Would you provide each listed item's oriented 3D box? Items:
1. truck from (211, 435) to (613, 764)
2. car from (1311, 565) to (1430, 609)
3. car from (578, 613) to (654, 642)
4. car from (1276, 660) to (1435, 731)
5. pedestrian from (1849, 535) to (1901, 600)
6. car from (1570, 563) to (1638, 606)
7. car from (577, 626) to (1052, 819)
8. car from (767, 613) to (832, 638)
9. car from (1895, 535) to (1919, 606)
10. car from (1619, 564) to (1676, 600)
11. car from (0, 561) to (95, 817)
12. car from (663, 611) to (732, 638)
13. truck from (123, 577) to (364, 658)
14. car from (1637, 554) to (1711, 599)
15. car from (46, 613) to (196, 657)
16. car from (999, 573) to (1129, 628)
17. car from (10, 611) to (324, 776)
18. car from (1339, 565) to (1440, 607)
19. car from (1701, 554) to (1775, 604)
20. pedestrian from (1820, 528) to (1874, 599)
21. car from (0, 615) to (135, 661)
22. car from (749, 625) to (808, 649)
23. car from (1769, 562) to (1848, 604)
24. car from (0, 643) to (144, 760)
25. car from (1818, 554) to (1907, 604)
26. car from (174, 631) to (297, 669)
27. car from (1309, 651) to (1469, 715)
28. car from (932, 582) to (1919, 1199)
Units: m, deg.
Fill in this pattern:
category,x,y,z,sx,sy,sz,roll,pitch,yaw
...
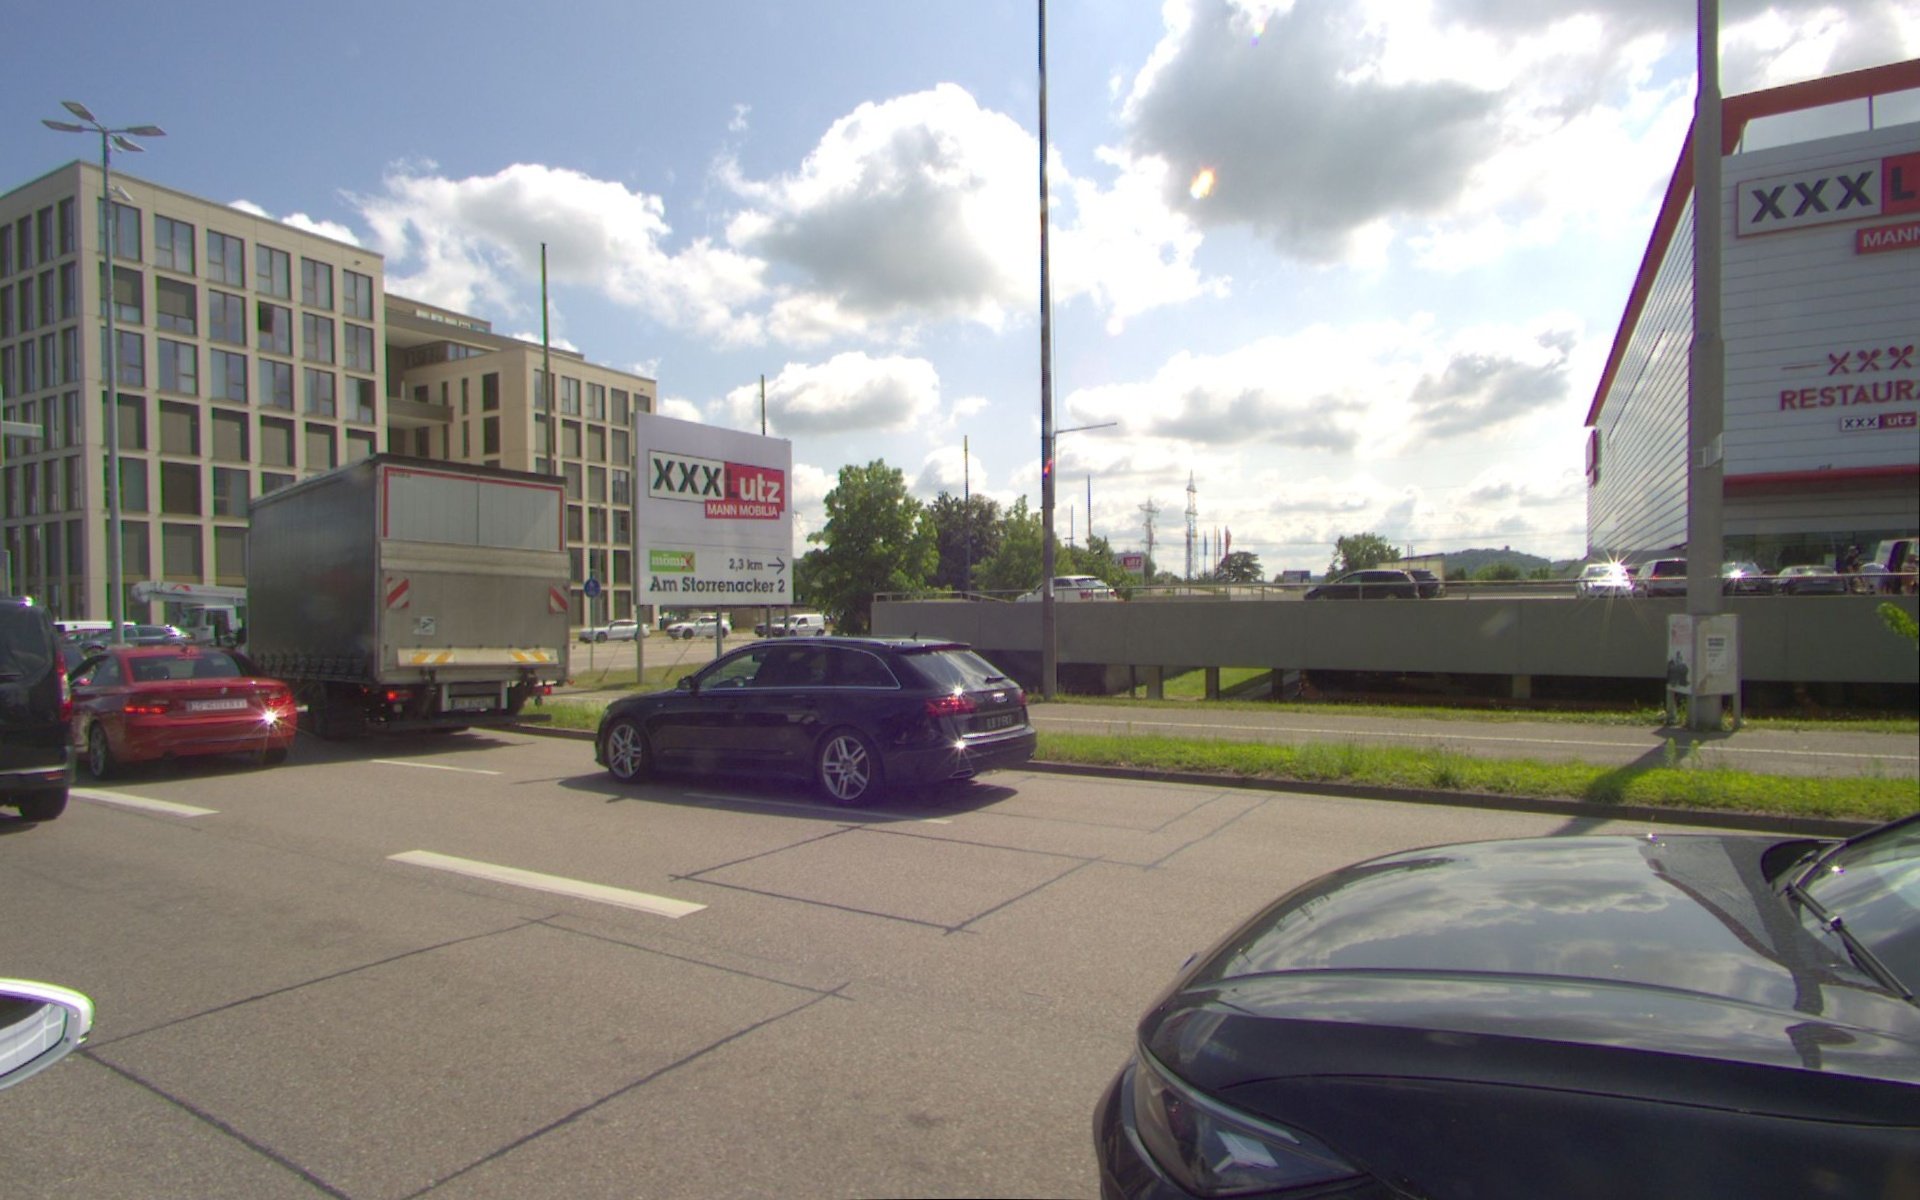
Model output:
category,x,y,z,sx,sy,sz,roll,pitch,yaw
truck,-9.475,0.198,16.650,8.974,4.078,3.196,-3,-3,43
car,16.633,-0.485,40.560,4.352,1.626,1.948,-1,-1,26
car,-23.531,1.914,68.629,1.806,1.861,4.692,-2,-3,38
car,11.100,2.609,28.106,3.939,1.772,1.992,-1,-1,29
pedestrian,26.131,-0.911,28.619,0.694,1.764,1.019,-1,-2,18
car,25.870,-0.574,40.328,1.925,1.489,4.406,-1,-2,28
car,-1.549,1.027,9.823,4.613,1.497,1.770,-2,-2,33
car,-12.149,1.968,76.059,1.809,1.861,4.761,-2,-3,43
car,26.854,-0.806,26.955,1.892,1.772,4.163,-2,-3,36
car,35.669,-0.893,52.063,1.925,1.626,4.406,-1,-2,28
car,-9.055,0.707,8.347,3.945,1.929,1.819,-1,-1,34
car,-19.278,1.829,73.673,1.809,1.861,4.674,-2,-3,43
truck,-35.167,0.969,49.813,2.632,3.599,9.755,-1,-2,25
car,29.709,-0.942,41.786,1.925,1.626,4.406,-1,-2,28
car,-32.995,1.398,39.529,1.798,1.647,4.200,-2,-2,25
car,3.312,0.071,32.583,1.860,1.606,4.134,1,-3,-38
car,-9.699,1.061,12.172,4.162,1.676,1.855,-3,-3,34
car,20.601,-0.636,48.032,4.352,1.808,1.948,-1,-1,26
car,32.282,-0.819,41.677,1.889,1.772,3.982,-2,-3,31
pedestrian,26.292,-1.055,29.688,0.694,2.039,0.911,0,-2,-13
car,-38.705,1.621,42.818,1.968,1.861,4.979,-2,-2,25
car,-14.385,2.942,79.608,1.809,1.861,4.408,-2,-3,43
car,34.436,-0.656,40.741,1.536,1.489,4.406,-1,-2,28
car,-15.111,1.557,16.181,4.163,1.675,1.856,-1,-6,36
car,36.898,-0.802,41.033,1.889,1.772,3.982,-2,-3,31
car,-33.012,2.274,45.745,1.802,1.647,4.193,-2,-3,31
car,12.984,2.449,30.327,4.297,1.772,1.992,-1,-1,29
car,2.604,0.716,0.936,5.129,1.497,1.805,-1,-2,32
